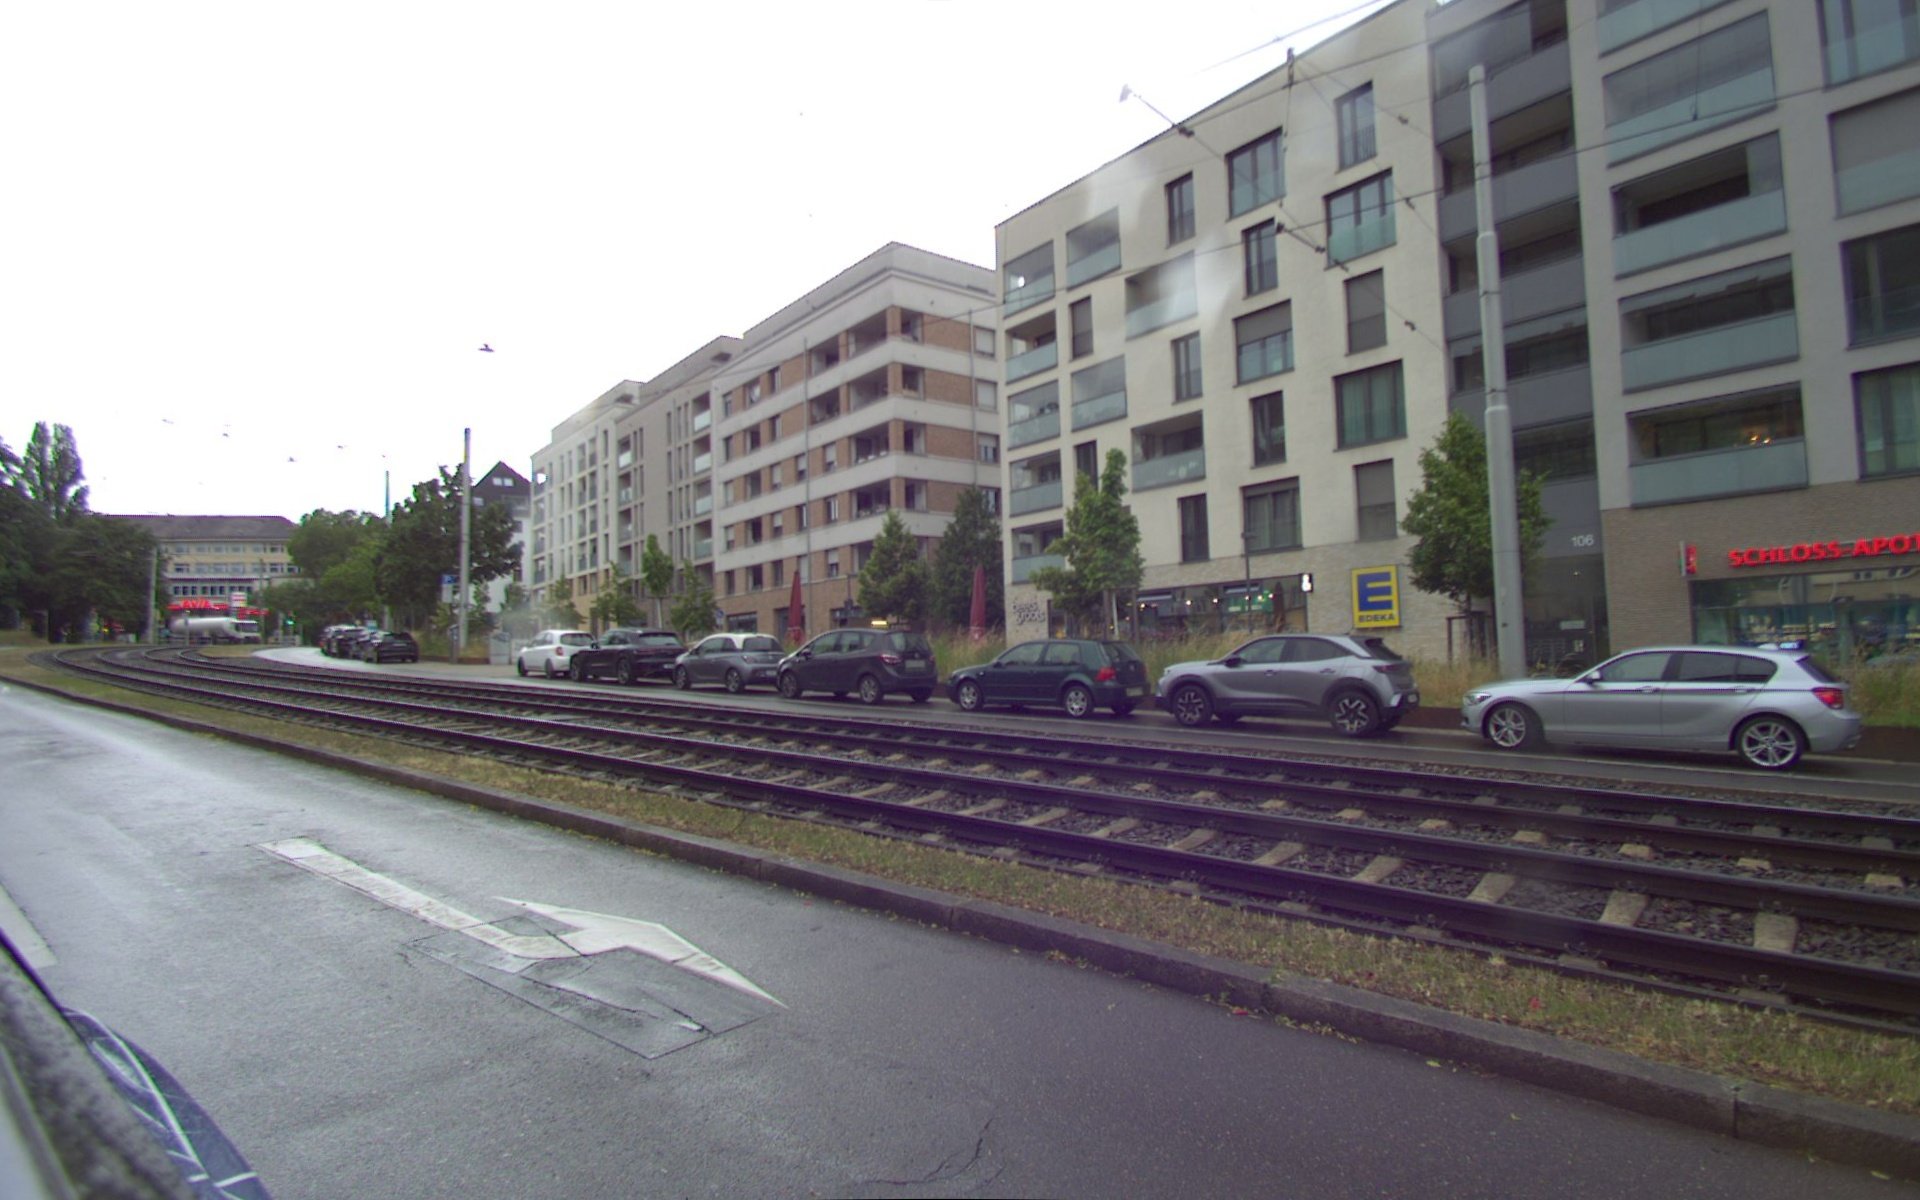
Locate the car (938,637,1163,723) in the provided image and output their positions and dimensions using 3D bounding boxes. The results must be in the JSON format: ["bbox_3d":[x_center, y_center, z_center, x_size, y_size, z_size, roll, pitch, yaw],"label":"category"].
[{"bbox_3d":[1.636,1.427,19.133,4.030,1.391,1.663,-1,-1,40],"label":"car"}]

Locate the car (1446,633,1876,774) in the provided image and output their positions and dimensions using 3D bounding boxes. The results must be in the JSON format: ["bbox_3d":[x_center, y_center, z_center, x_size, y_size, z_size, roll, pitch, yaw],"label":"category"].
[{"bbox_3d":[8.822,1.185,13.046,4.326,1.475,1.663,-1,-1,40],"label":"car"}]

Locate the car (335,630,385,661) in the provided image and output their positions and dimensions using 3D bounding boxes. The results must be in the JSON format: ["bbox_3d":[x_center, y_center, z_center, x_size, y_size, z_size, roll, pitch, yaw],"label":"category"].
[{"bbox_3d":[-31.309,2.340,52.798,1.630,1.475,3.676,-1,0,-40],"label":"car"}]

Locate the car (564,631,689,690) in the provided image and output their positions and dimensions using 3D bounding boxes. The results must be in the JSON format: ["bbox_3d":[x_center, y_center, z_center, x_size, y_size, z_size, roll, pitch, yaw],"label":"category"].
[{"bbox_3d":[-9.642,1.673,29.059,1.660,1.516,4.408,0,-1,-44],"label":"car"}]

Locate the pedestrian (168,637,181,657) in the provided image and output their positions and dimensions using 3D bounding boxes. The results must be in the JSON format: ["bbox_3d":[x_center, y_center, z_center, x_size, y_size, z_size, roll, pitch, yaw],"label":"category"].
[{"bbox_3d":[-71.606,4.303,92.250,0.738,1.777,0.819,5,-5,-42],"label":"pedestrian"}]

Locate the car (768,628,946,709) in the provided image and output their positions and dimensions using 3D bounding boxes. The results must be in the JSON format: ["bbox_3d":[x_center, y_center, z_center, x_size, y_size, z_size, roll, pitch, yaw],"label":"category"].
[{"bbox_3d":[-2.319,1.428,22.261,3.926,1.575,1.663,-1,-1,40],"label":"car"}]

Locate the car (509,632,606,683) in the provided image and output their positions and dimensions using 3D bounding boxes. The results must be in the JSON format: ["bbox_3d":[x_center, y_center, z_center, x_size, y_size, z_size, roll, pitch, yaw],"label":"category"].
[{"bbox_3d":[-13.049,1.806,32.725,1.627,1.516,3.784,0,-1,-44],"label":"car"}]

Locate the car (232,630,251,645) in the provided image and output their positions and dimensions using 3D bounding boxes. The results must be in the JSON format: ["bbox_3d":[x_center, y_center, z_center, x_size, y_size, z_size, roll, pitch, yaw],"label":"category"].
[{"bbox_3d":[-81.721,4.242,115.082,1.641,1.619,3.818,-1,0,-34],"label":"car"}]

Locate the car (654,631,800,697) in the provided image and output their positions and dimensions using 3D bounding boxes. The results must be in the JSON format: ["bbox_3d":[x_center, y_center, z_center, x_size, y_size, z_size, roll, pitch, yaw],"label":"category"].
[{"bbox_3d":[-6.018,1.577,25.940,3.926,1.516,1.663,-1,-1,40],"label":"car"}]

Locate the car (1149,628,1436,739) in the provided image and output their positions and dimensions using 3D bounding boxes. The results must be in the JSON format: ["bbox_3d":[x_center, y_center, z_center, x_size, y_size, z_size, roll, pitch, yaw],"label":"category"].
[{"bbox_3d":[5.236,1.229,16.150,4.042,1.541,1.665,-1,-1,36],"label":"car"}]

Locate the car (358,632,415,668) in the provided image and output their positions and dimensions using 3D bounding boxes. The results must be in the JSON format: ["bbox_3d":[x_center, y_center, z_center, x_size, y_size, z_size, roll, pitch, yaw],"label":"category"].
[{"bbox_3d":[-26.418,2.257,46.584,1.630,1.475,3.676,-1,0,-40],"label":"car"}]
